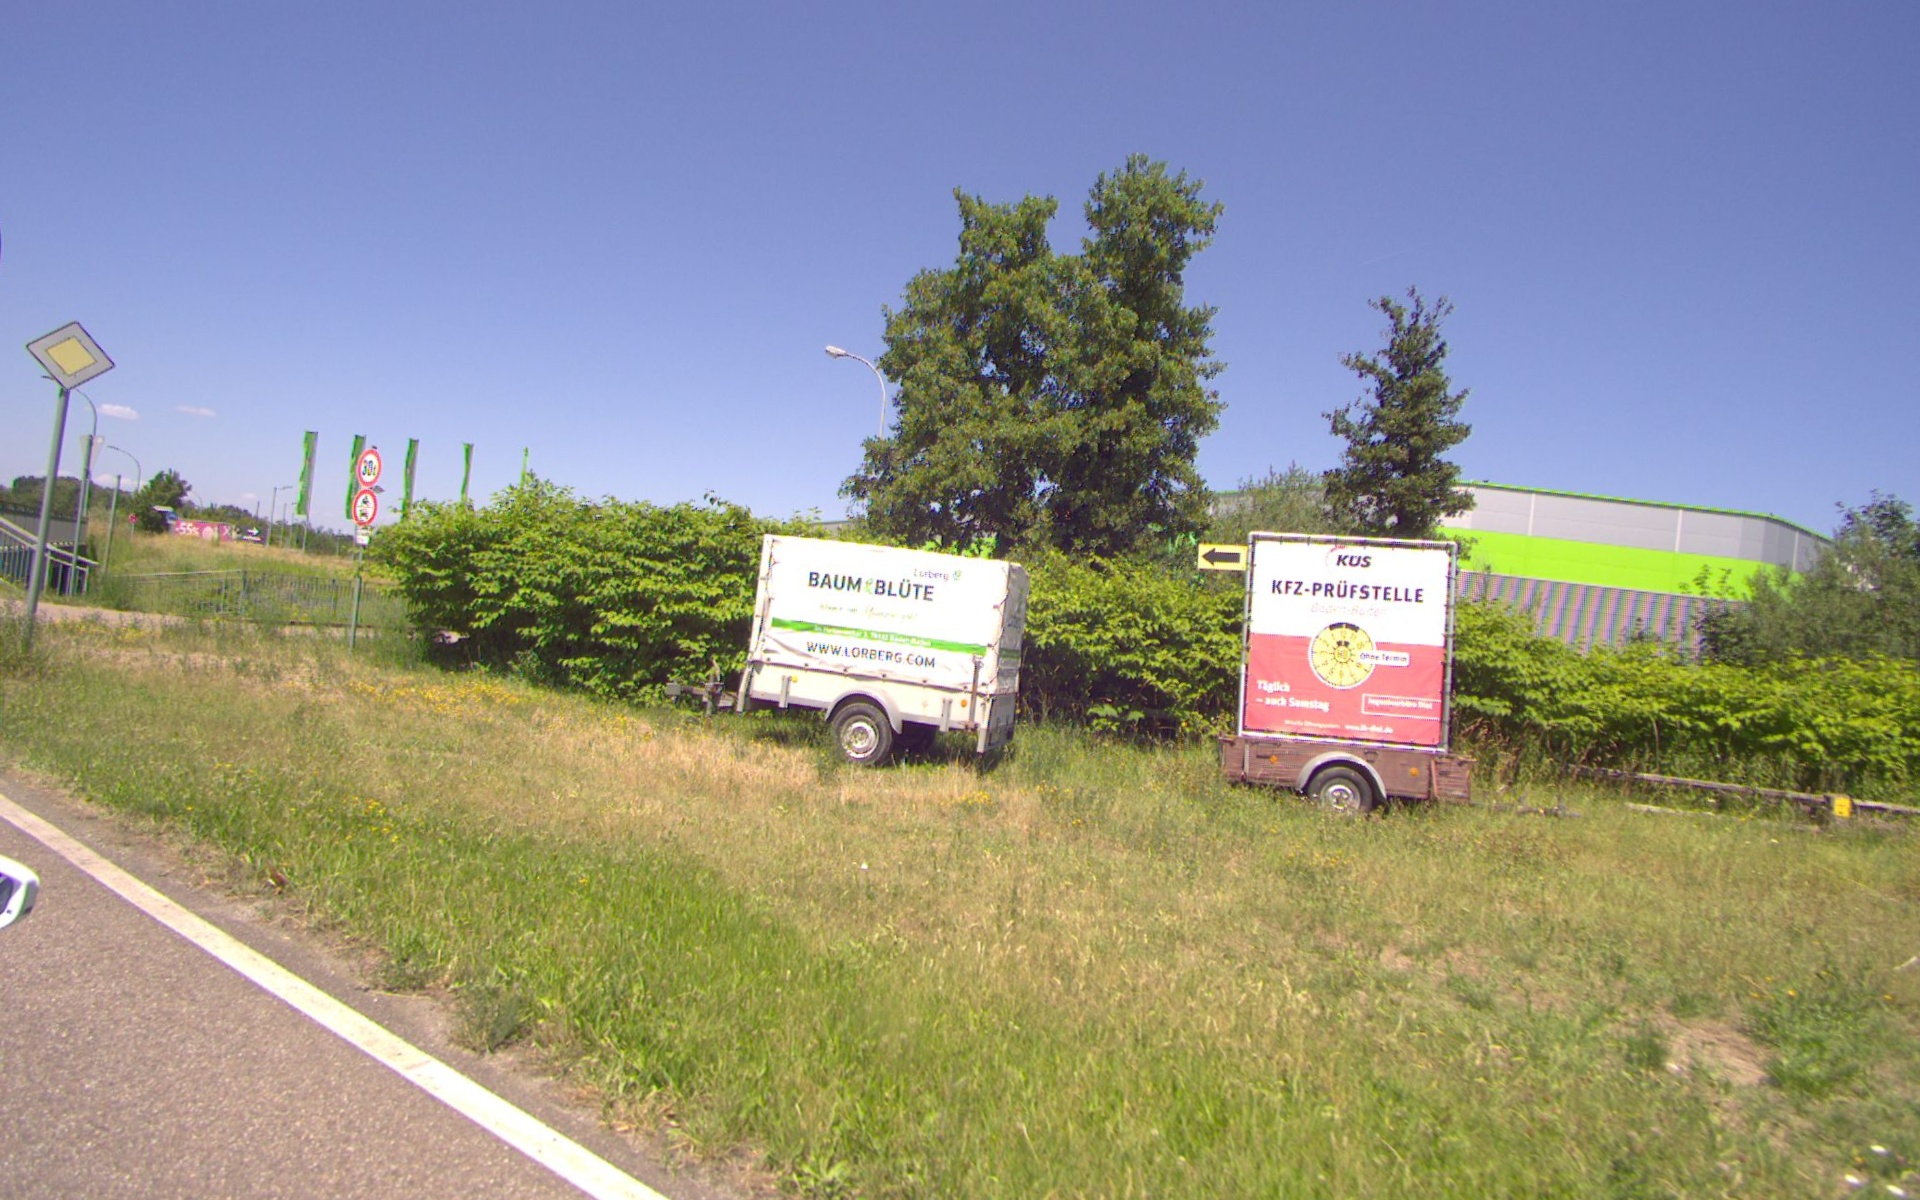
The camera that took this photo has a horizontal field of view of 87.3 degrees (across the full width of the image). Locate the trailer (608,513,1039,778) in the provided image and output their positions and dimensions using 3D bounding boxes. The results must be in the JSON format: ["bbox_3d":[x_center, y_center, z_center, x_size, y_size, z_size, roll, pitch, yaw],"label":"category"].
[{"bbox_3d":[-1.313,0.437,10.550,3.893,2.102,1.854,6,-1,11],"label":"trailer"}]

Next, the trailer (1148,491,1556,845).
[{"bbox_3d":[3.502,0.588,9.586,3.087,2.701,1.854,6,-1,11],"label":"trailer"}]
